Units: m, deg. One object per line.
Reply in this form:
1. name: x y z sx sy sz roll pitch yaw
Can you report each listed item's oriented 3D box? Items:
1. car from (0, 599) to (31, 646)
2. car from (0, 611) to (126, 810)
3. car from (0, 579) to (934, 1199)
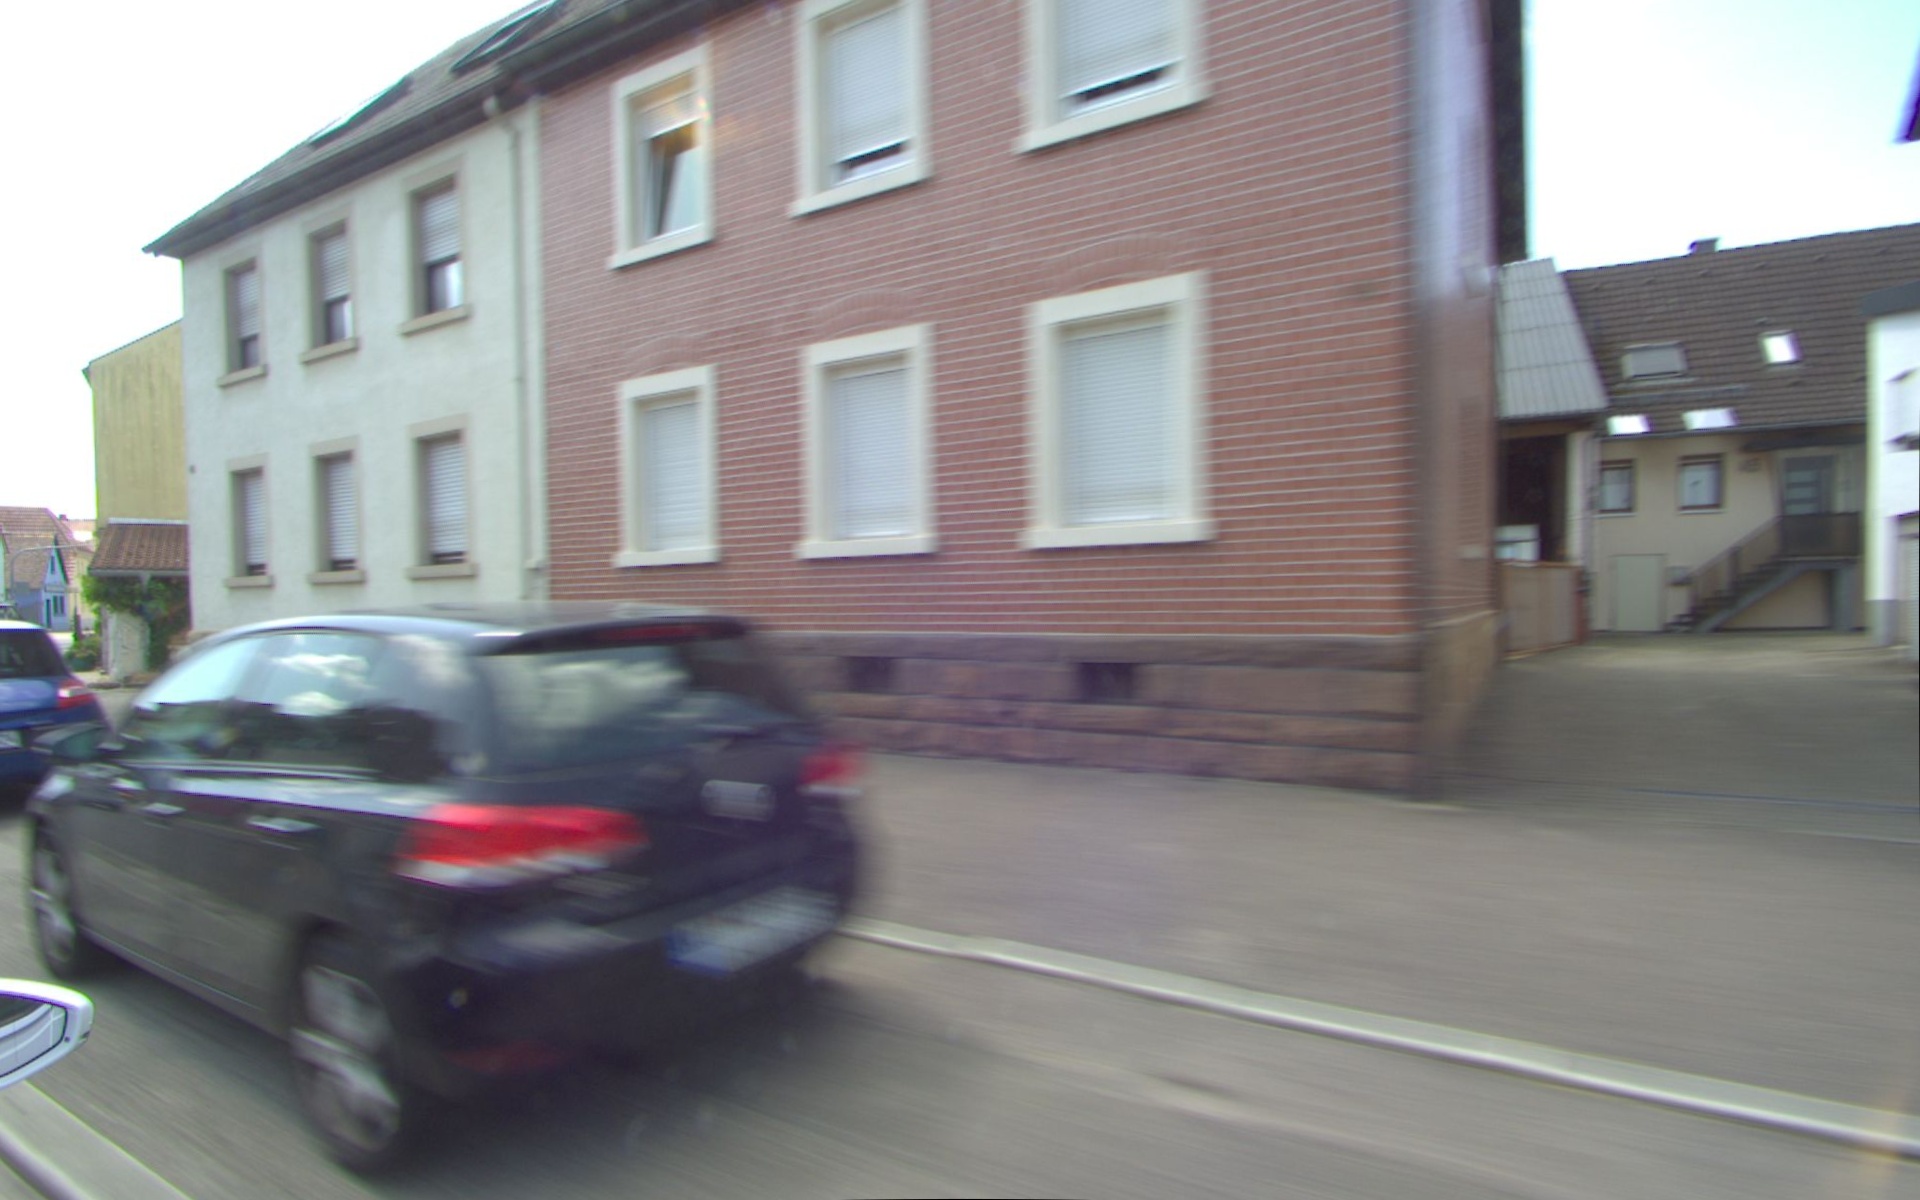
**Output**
1. car: -39.061 0.937 39.997 1.971 1.839 3.981 0 -2 -30
2. car: -8.485 0.849 8.161 3.949 1.403 1.716 -2 -1 37
3. car: -2.208 0.747 3.989 3.944 1.552 1.762 2 4 34
